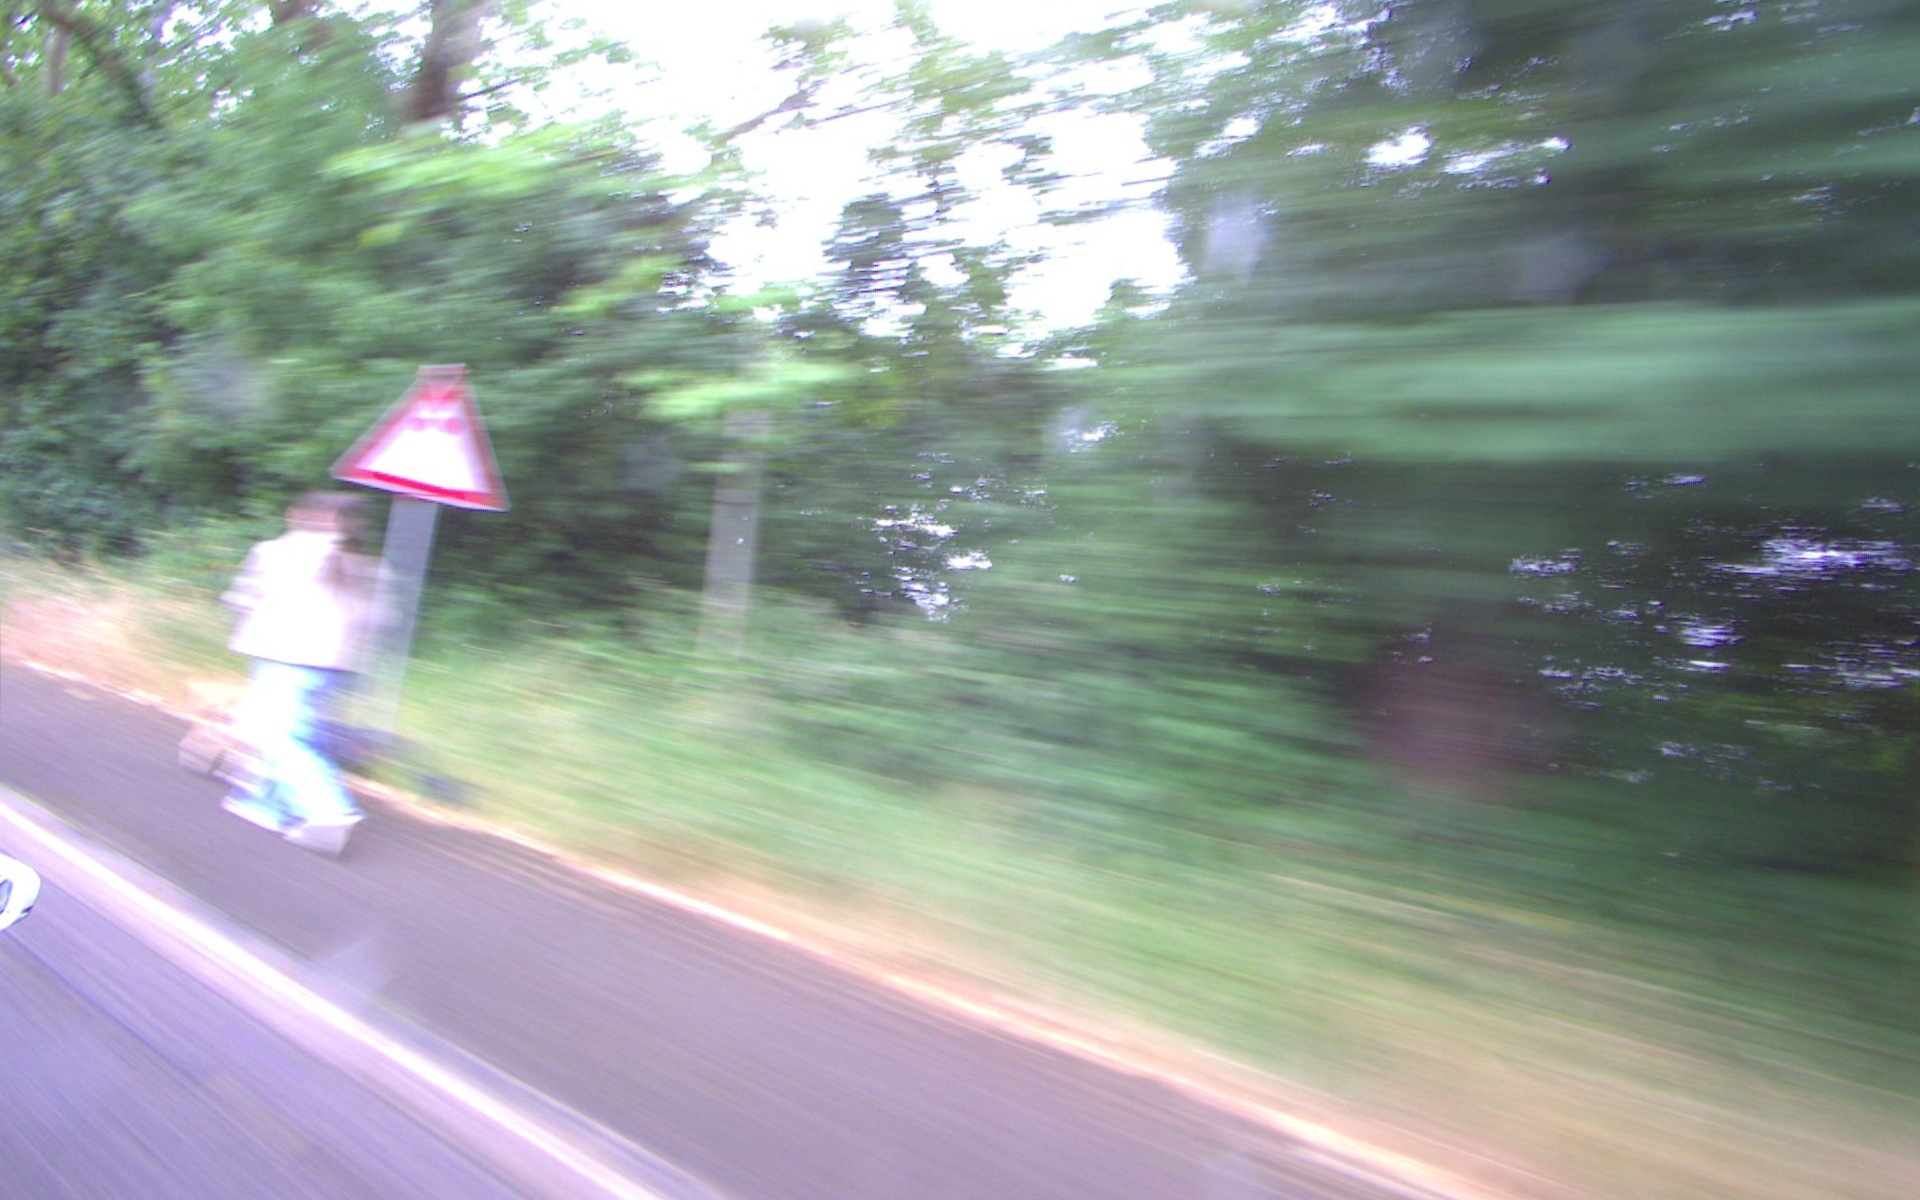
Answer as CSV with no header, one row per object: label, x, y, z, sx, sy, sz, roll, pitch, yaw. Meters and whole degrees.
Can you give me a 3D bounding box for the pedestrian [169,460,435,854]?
pedestrian,-3.007,0.242,4.621,0.658,1.630,0.643,6,-1,31
